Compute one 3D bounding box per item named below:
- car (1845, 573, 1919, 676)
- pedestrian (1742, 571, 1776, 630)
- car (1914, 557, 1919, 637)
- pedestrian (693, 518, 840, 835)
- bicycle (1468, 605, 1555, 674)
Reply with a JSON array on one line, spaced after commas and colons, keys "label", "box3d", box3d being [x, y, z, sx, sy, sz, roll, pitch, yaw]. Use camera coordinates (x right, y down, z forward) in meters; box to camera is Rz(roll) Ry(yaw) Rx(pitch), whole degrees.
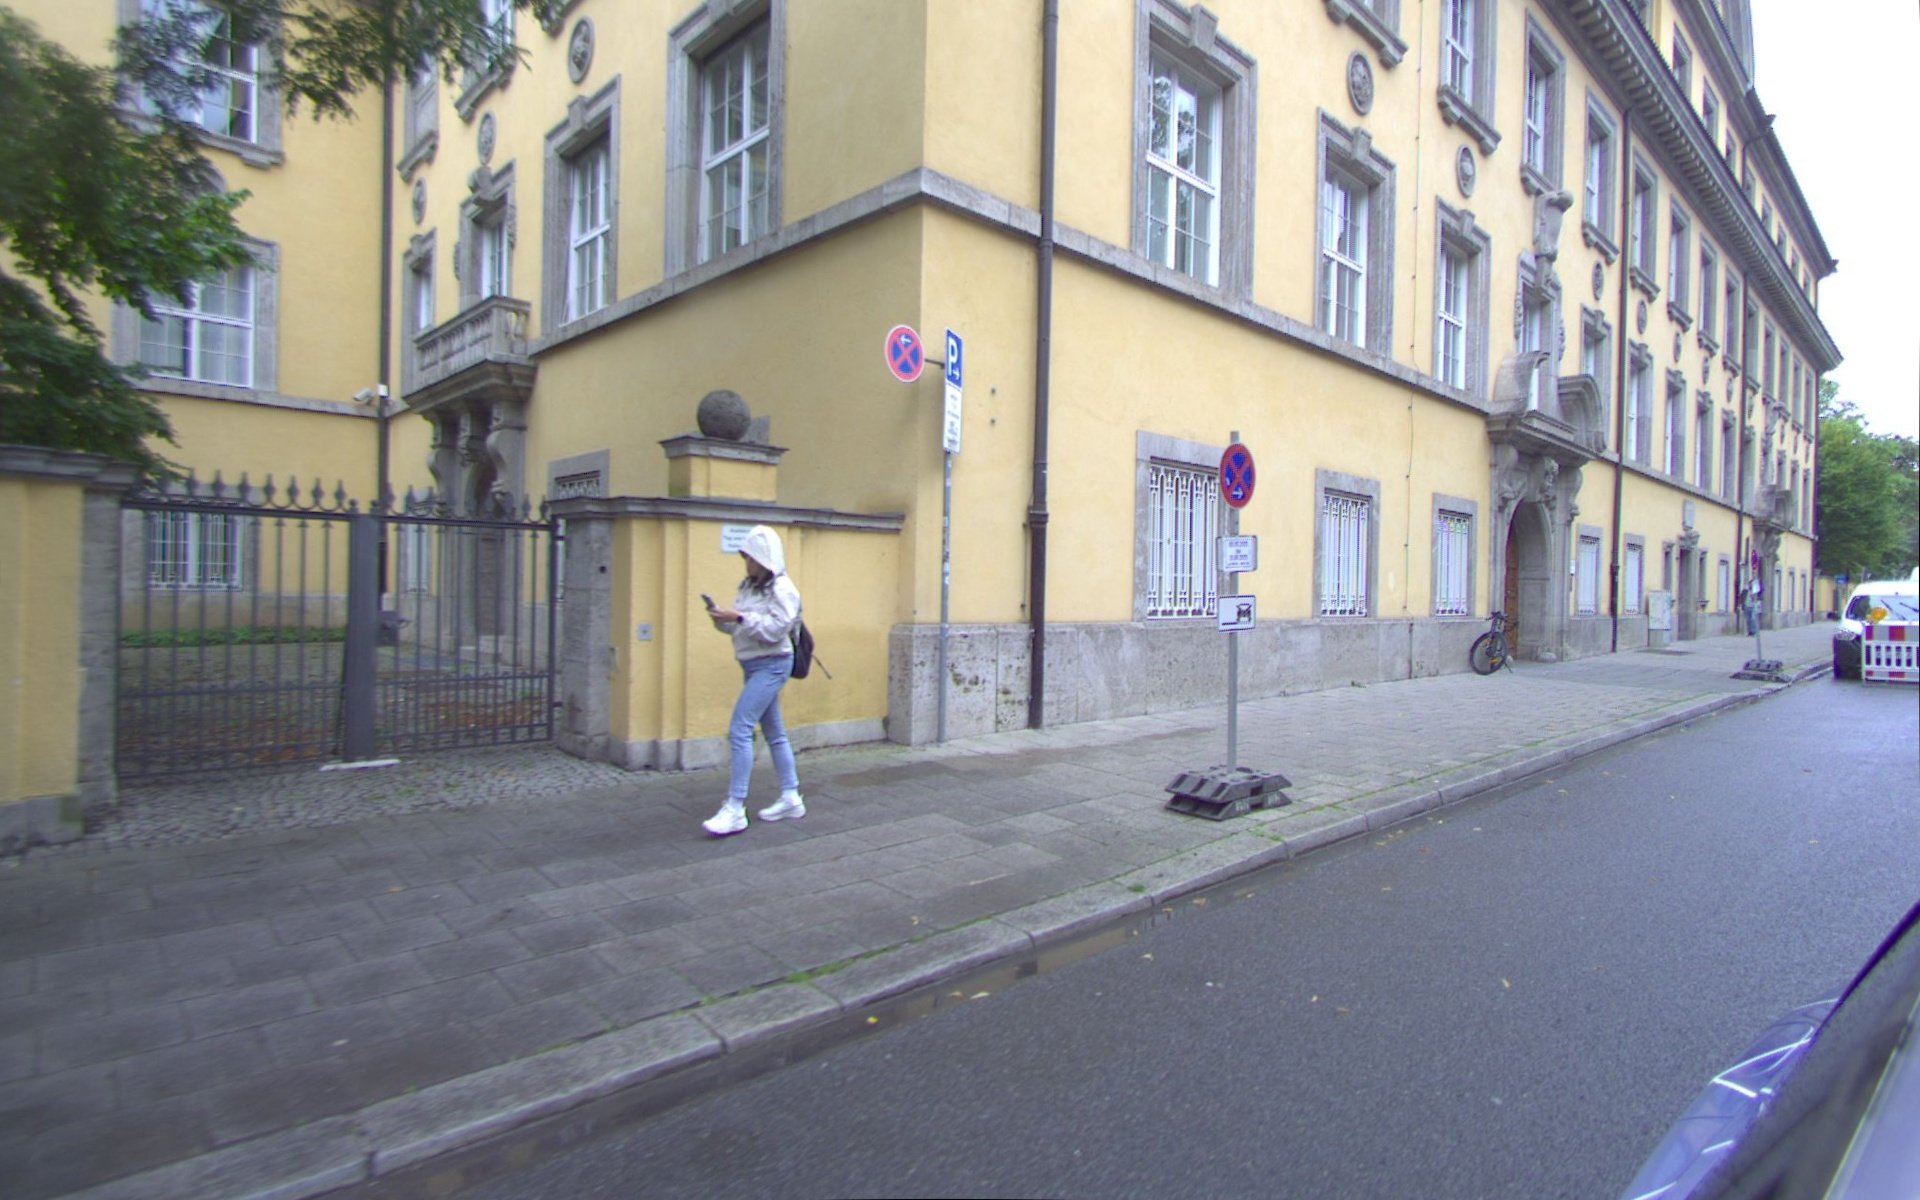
[{"label": "car", "box3d": [18.192, 0.388, 19.267, 1.741, 1.771, 4.286, 2, 2, 45]}, {"label": "pedestrian", "box3d": [25.472, 0.011, 32.252, 0.573, 1.826, 0.701, -1, 4, -44]}, {"label": "car", "box3d": [35.460, -0.126, 36.028, 2.055, 2.706, 7.493, 2, 2, 44]}, {"label": "pedestrian", "box3d": [-1.087, 0.383, 5.669, 0.562, 1.657, 0.561, 0, 3, -44]}, {"label": "bicycle", "box3d": [9.134, 0.625, 16.716, 2.023, 1.019, 0.680, -1, 2, -44]}]
